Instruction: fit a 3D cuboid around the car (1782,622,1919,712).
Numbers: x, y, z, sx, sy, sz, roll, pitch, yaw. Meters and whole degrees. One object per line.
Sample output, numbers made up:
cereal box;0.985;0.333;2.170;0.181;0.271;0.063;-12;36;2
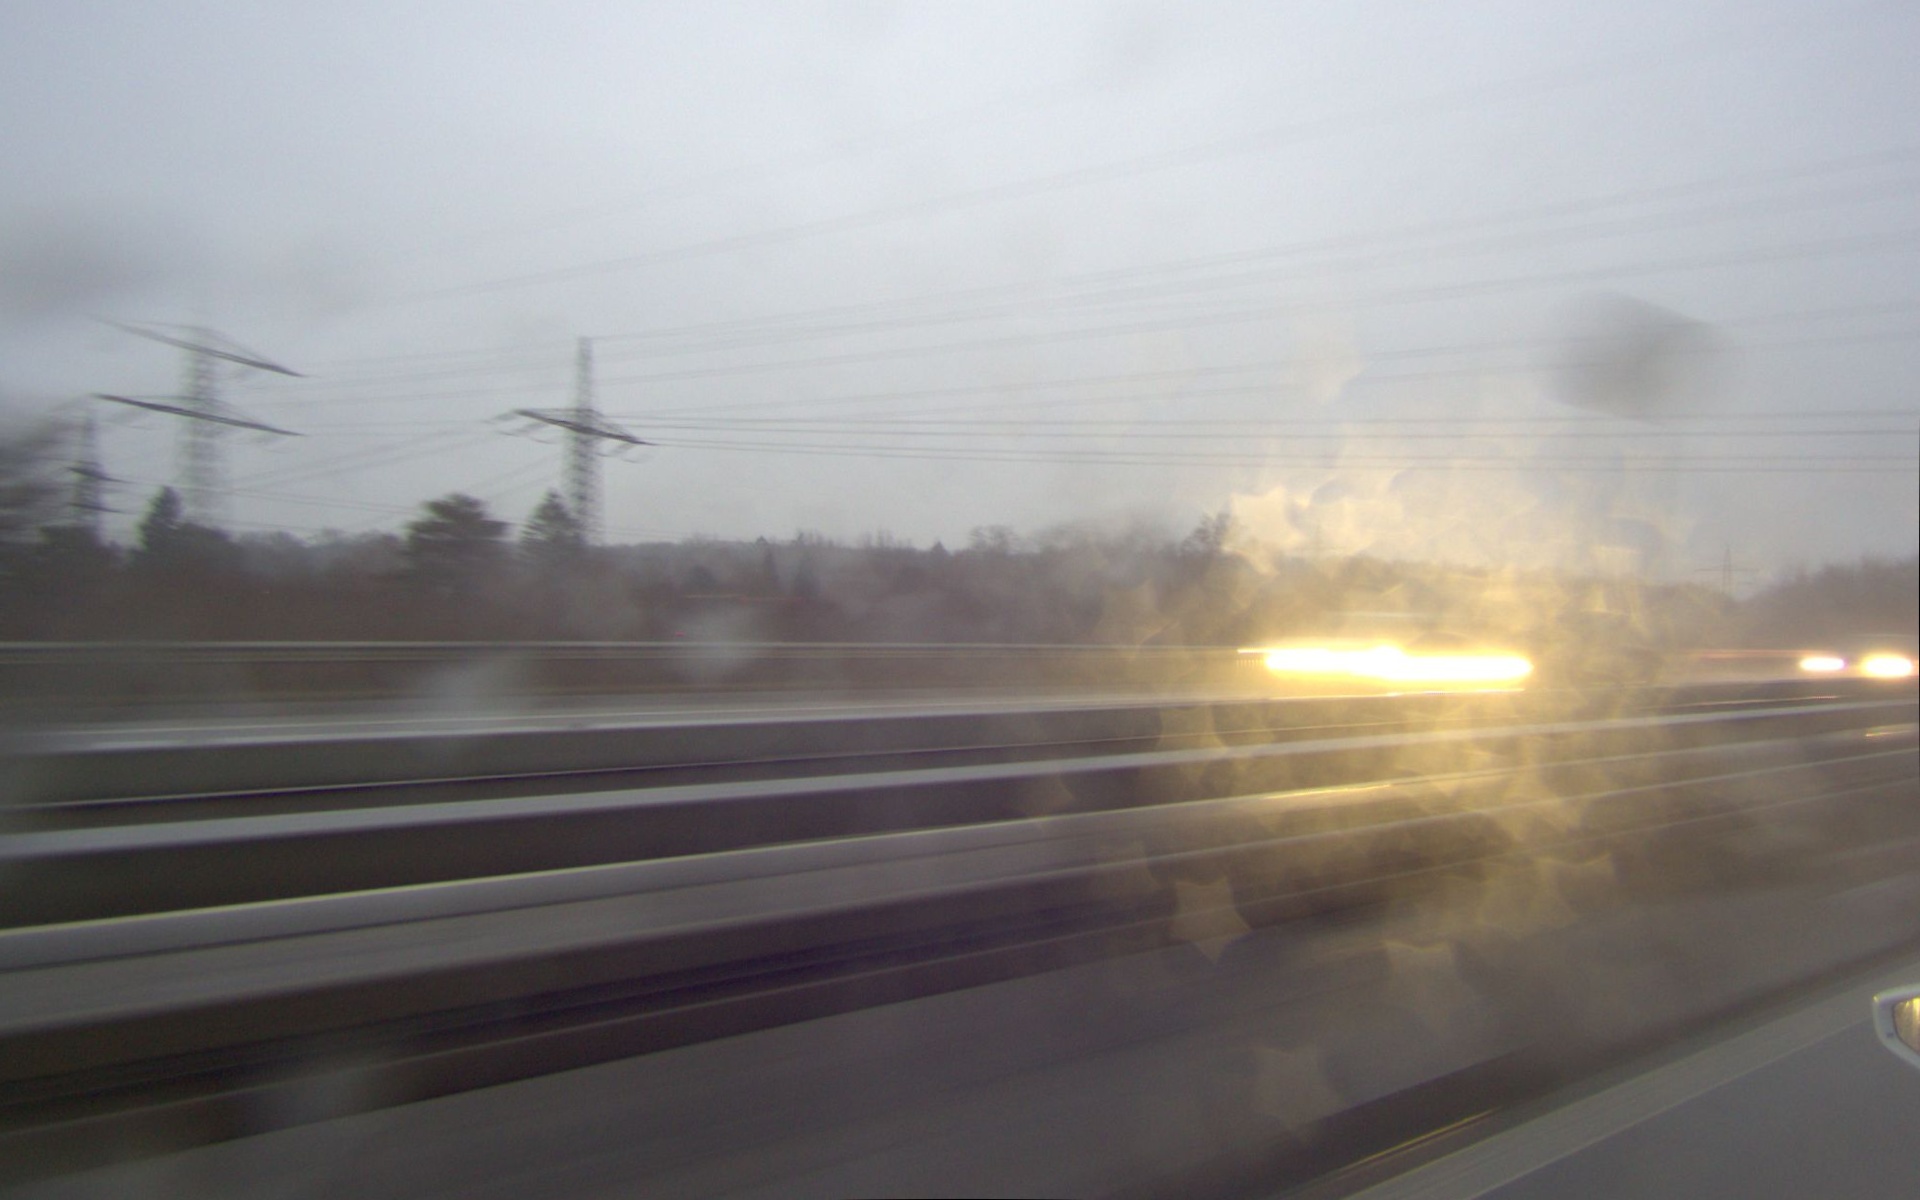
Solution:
car;23.892;1.692;26.383;4.707;2.142;2.060;2;-1;-31

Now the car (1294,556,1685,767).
car;6.532;0.683;12.276;4.707;2.142;2.060;2;-1;-31

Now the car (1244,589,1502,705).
car;7.333;0.795;17.777;4.289;1.815;2.060;2;-1;-31
